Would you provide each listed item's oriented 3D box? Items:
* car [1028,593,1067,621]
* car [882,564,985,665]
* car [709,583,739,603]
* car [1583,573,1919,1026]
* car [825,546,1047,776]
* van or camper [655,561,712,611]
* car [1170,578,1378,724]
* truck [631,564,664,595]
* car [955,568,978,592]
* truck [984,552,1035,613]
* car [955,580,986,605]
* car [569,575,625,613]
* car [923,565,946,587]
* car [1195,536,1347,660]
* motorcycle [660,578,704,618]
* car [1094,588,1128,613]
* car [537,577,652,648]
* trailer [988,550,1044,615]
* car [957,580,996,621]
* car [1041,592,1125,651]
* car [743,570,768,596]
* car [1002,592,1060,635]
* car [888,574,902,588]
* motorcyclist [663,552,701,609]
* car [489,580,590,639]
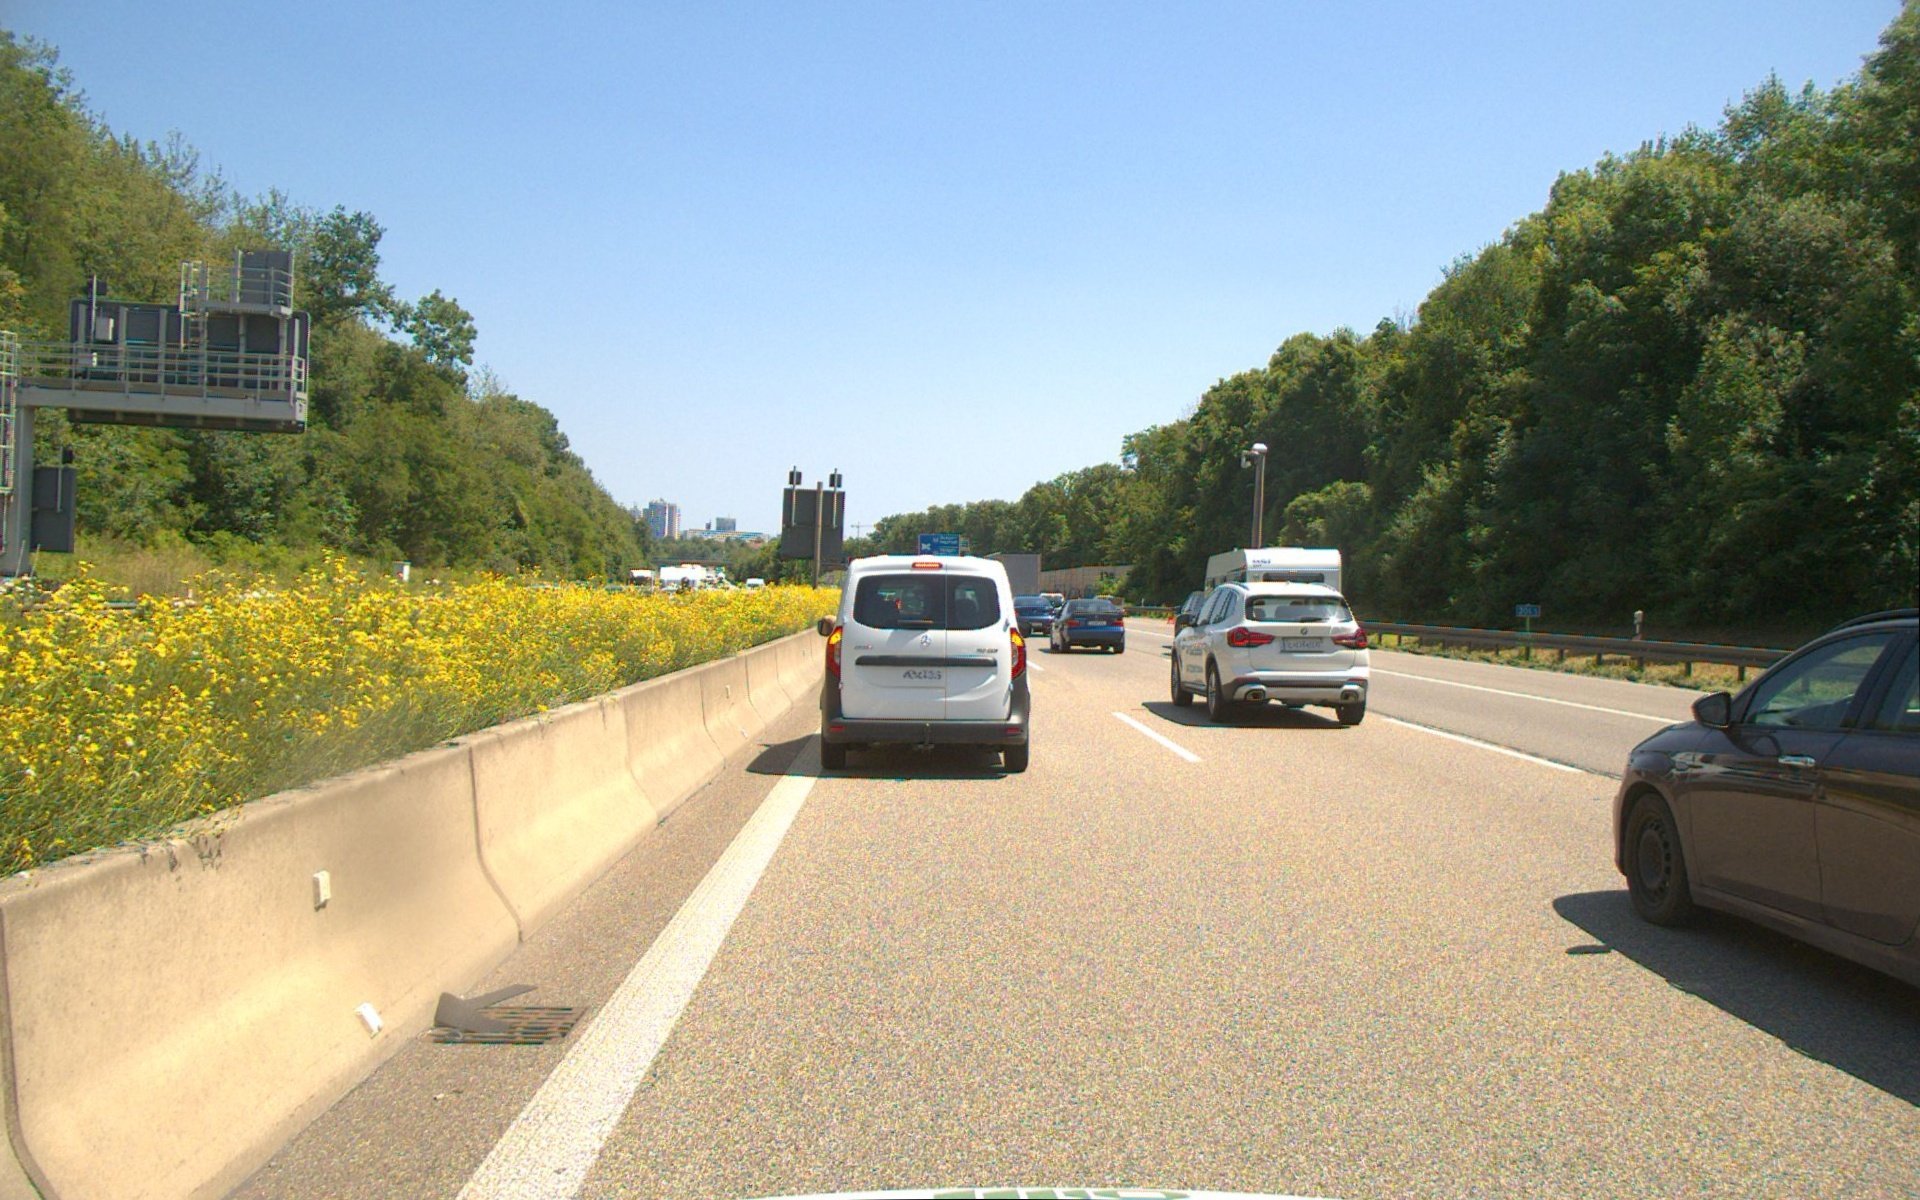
[{"bbox_3d":[4.681,0.366,89.194,1.787,1.449,3.999,1,0,-2],"label":"car"},{"bbox_3d":[-0.554,0.264,33.626,1.953,1.892,3.999,1,0,-2],"label":"car"},{"bbox_3d":[-19.422,-0.550,136.142,1.953,1.602,3.999,1,0,-2],"label":"car"},{"bbox_3d":[4.170,0.690,6.315,1.801,1.539,4.401,1,1,-2],"label":"car"},{"bbox_3d":[-0.265,0.477,15.341,1.766,1.839,3.998,1,0,-2],"label":"car"},{"bbox_3d":[-15.531,-0.788,93.151,2.262,2.682,7.395,1,0,-3],"label":"van or camper"},{"bbox_3d":[3.876,0.569,21.032,1.833,1.636,3.878,1,1,-1],"label":"car"},{"bbox_3d":[-32.080,-2.096,169.957,2.358,3.058,7.455,1,0,-3],"label":"truck"},{"bbox_3d":[0.550,-1.734,145.042,1.953,2.049,3.999,1,0,-1],"label":"car"},{"bbox_3d":[3.371,-1.177,115.052,3.019,4.055,9.643,1,0,-2],"label":"truck"},{"bbox_3d":[0.637,-0.476,104.623,1.787,1.472,3.999,1,0,-2],"label":"car"},{"bbox_3d":[-17.042,-0.299,77.763,1.720,1.725,4.421,1,0,-1],"label":"car"},{"bbox_3d":[-2.503,-2.344,161.725,1.955,2.049,3.996,1,0,-5],"label":"car"},{"bbox_3d":[7.565,-0.062,41.004,2.429,2.814,6.218,1,0,-2],"label":"car"},{"bbox_3d":[-9.026,-0.074,53.774,1.019,1.236,2.613,1,0,-1],"label":"motorcycle"},{"bbox_3d":[9.928,0.009,108.840,1.752,1.545,3.999,1,0,-1],"label":"car"},{"bbox_3d":[-8.327,0.256,38.025,1.802,1.523,3.999,1,0,-1],"label":"car"},{"bbox_3d":[3.556,-1.117,108.056,3.019,4.055,10.320,1,0,-2],"label":"trailer"},{"bbox_3d":[0.824,0.034,84.694,1.787,2.024,3.999,1,0,-2],"label":"car"},{"bbox_3d":[3.163,0.521,43.232,1.787,1.449,3.999,1,0,-2],"label":"car"},{"bbox_3d":[-20.901,-1.731,169.540,1.953,2.586,5.907,1,0,-1],"label":"car"},{"bbox_3d":[2.484,0.454,58.957,1.787,1.449,3.999,1,0,-2],"label":"car"},{"bbox_3d":[-9.190,-2.700,235.178,1.953,2.049,3.999,1,0,-2],"label":"car"},{"bbox_3d":[-9.017,-0.646,53.651,1.010,1.817,1.283,1,0,-2],"label":"motorcyclist"},{"bbox_3d":[-11.841,0.248,46.814,1.802,1.548,4.356,1,0,-1],"label":"car"}]
